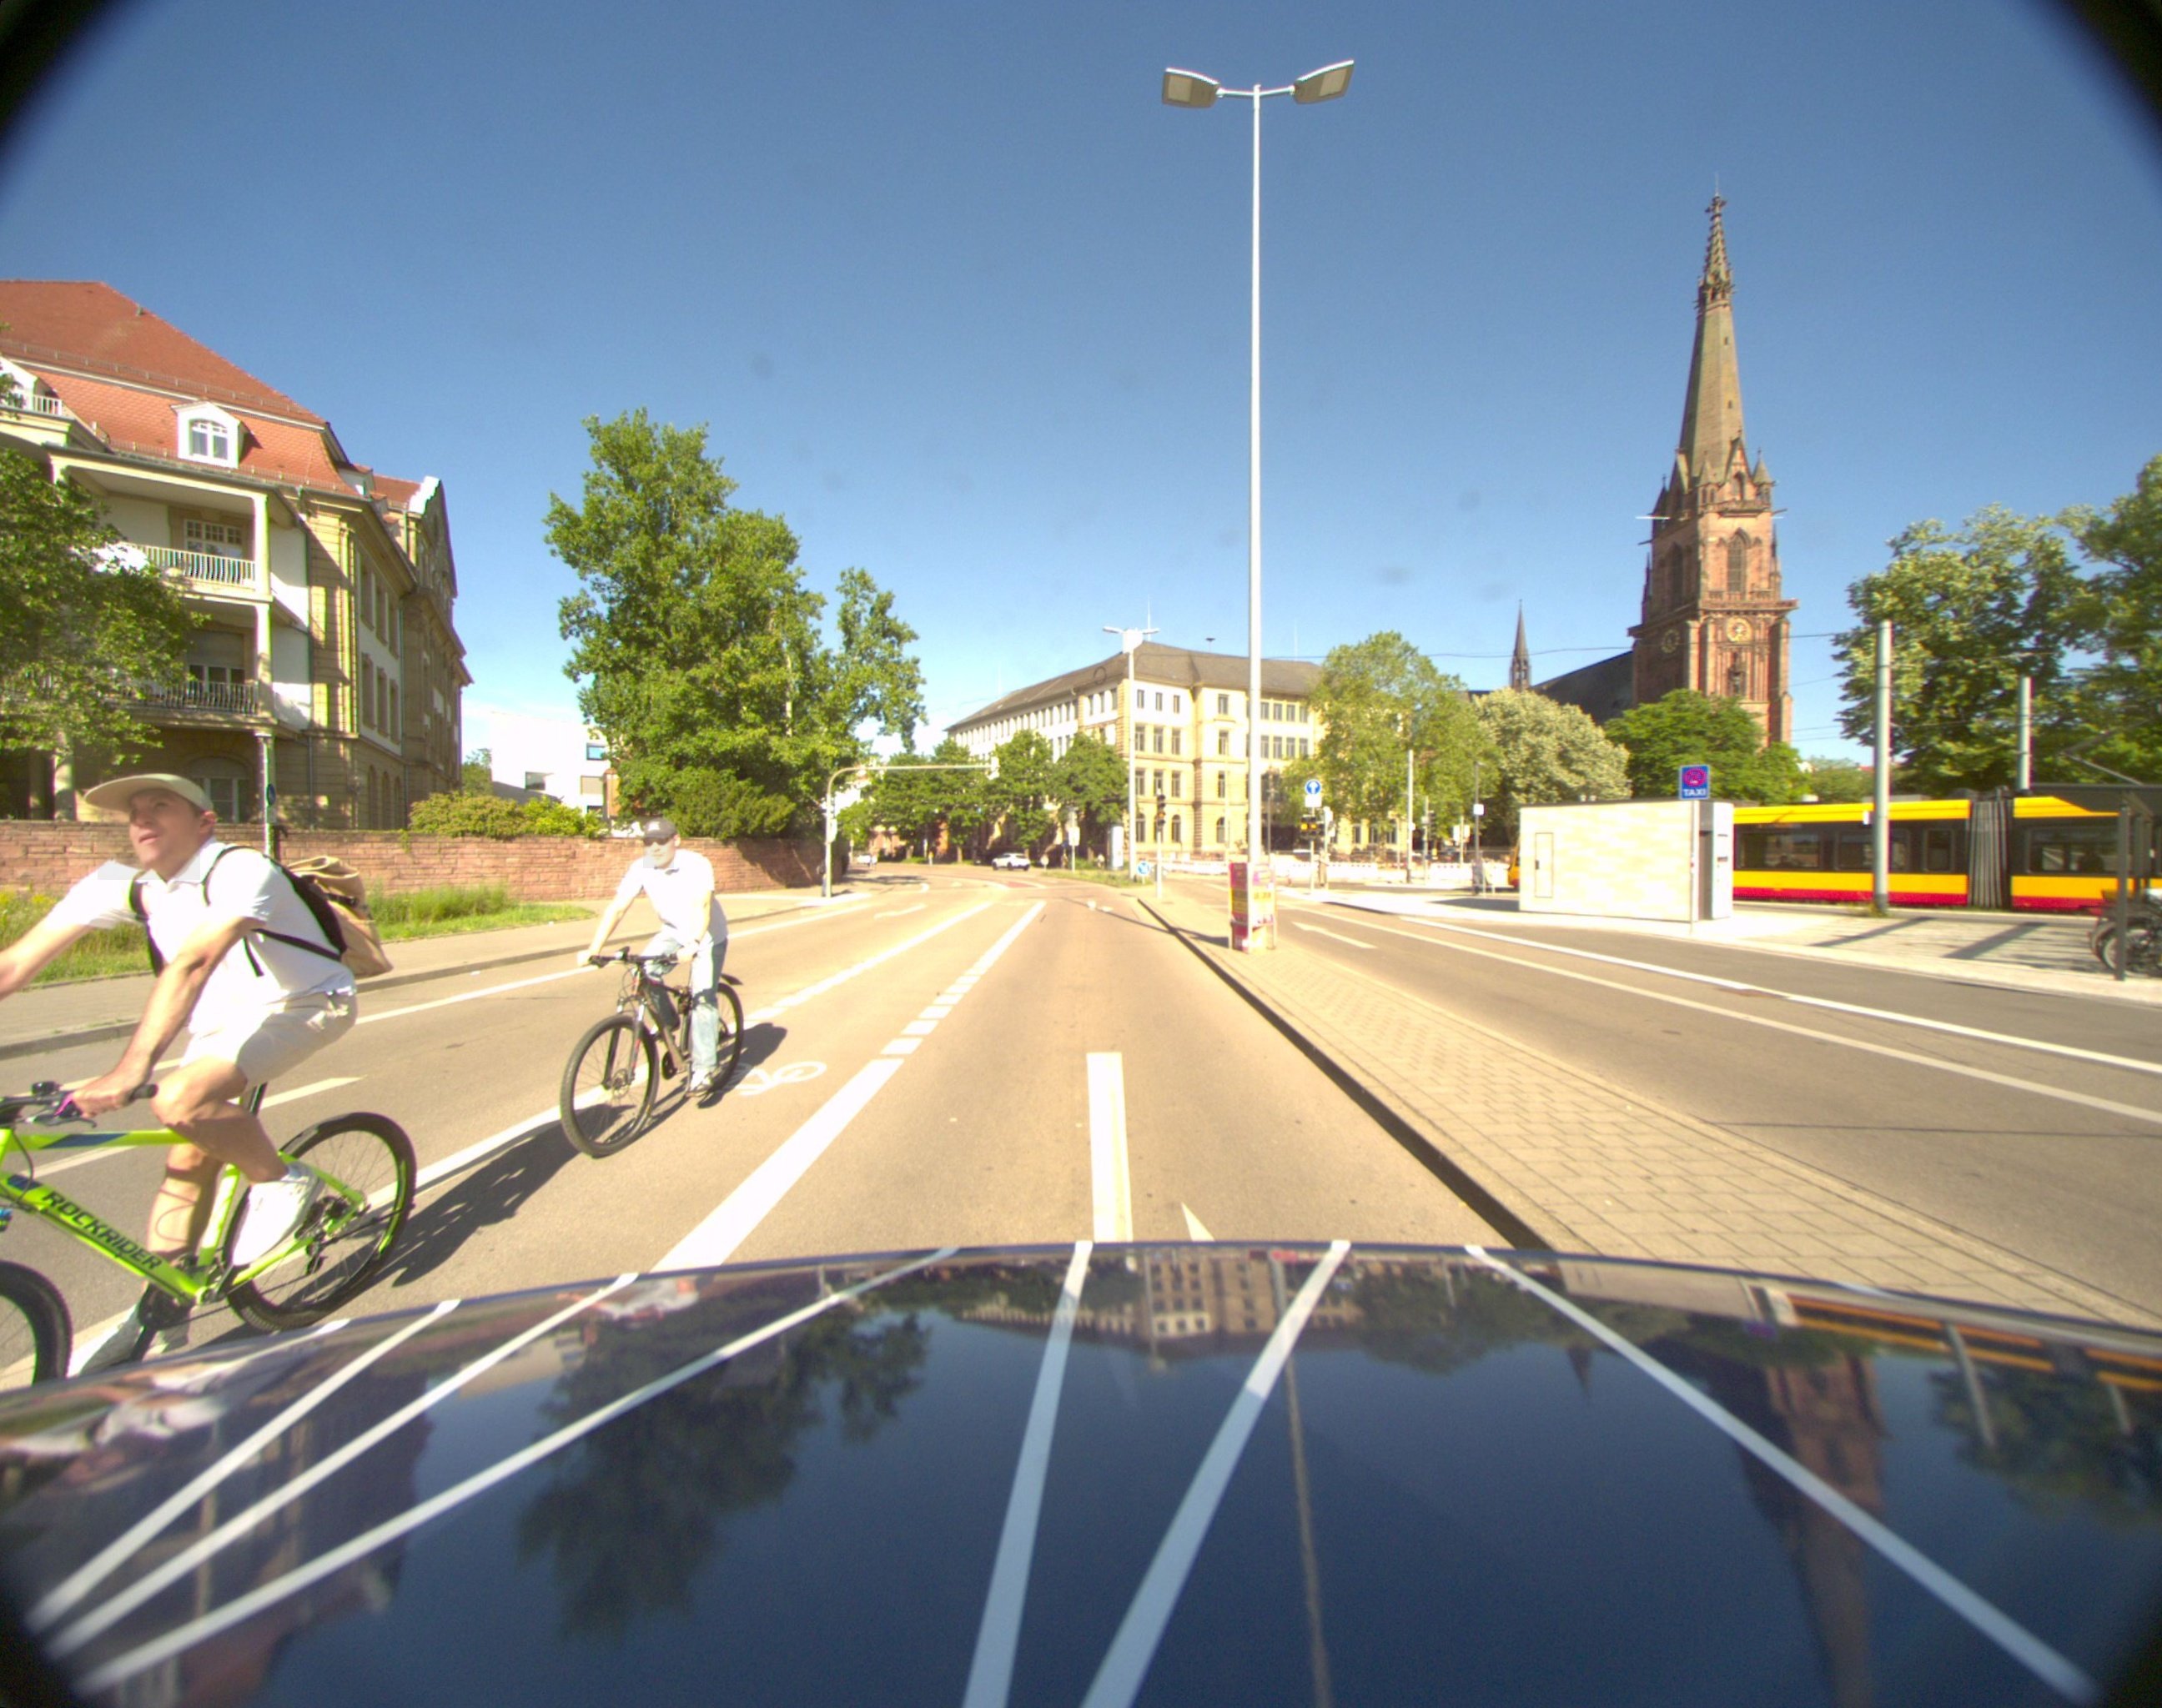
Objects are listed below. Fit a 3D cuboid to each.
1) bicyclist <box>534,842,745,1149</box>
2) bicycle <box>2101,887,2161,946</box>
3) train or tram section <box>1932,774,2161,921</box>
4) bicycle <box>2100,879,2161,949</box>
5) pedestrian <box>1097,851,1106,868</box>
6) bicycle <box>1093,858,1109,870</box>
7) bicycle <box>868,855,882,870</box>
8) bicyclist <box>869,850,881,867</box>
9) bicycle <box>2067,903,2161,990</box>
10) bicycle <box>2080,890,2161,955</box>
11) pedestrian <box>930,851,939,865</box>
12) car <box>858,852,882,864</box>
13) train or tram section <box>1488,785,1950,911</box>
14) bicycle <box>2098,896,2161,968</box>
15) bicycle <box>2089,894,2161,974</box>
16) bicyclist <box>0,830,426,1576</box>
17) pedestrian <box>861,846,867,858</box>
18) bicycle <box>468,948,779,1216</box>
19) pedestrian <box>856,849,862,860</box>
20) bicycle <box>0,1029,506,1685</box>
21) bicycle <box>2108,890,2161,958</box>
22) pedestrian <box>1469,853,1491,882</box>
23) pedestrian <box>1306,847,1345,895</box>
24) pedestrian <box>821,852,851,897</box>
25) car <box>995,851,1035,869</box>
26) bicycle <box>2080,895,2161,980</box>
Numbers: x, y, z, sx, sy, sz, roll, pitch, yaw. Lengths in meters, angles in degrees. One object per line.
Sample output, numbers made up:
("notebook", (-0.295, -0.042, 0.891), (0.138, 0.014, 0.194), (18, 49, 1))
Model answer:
("bicyclist", (-2.578, 0.764, 4.546), (0.742, 1.664, 0.865), (0, 1, -1))
("bicycle", (19.515, 1.124, 13.355), (0.630, 1.002, 1.826), (-1, 1, -32))
("train or tram section", (28.856, -0.160, 17.332), (2.806, 3.580, 12.294), (-1, 1, -35))
("bicycle", (18.936, 1.047, 12.947), (0.630, 1.173, 1.826), (-1, 1, -32))
("pedestrian", (1.796, 0.470, 66.540), (0.596, 1.394, 0.644), (-3, 1, -24))
("bicycle", (1.735, 0.831, 66.659), (0.601, 1.000, 1.983), (-3, 1, -25))
("bicycle", (-19.280, 0.765, 71.105), (0.763, 1.360, 2.732), (-1, 1, -27))
("bicyclist", (-19.269, 0.386, 71.065), (0.871, 1.551, 1.277), (-1, 1, -28))
("bicycle", (13.922, 1.205, 9.488), (0.702, 1.002, 1.863), (-1, 2, -32))
("bicycle", (17.802, 1.137, 12.358), (0.630, 1.002, 1.826), (-1, 1, -32))
("pedestrian", (-18.907, 0.460, 97.766), (0.759, 1.802, 0.977), (-1, 1, -40))
("car", (-27.598, 0.541, 99.351), (1.853, 1.477, 4.154), (-1, 1, -35))
("train or tram section", (21.818, -0.205, 27.555), (2.806, 3.580, 12.504), (-1, 1, -35))
("bicycle", (16.168, 1.161, 10.898), (0.630, 1.002, 1.826), (-1, 1, -32))
("bicycle", (15.130, 1.115, 10.225), (0.574, 1.045, 1.826), (-1, 1, -32))
("bicyclist", (-2.643, 0.744, 2.080), (0.676, 1.574, 1.081), (-2, 1, 0))
("pedestrian", (-35.524, -0.330, 124.408), (0.758, 1.801, 0.979), (-2, -2, -18))
("bicycle", (-2.581, 1.217, 4.615), (0.749, 1.044, 1.903), (0, 1, -1))
("pedestrian", (-36.438, 0.062, 124.658), (0.758, 1.801, 0.979), (-2, -2, -16))
("bicycle", (-2.621, 1.228, 2.066), (0.673, 1.044, 1.843), (-2, 1, 0))
("bicycle", (17.155, 1.099, 11.522), (0.630, 1.002, 1.826), (-1, 1, -32))
("pedestrian", (24.090, 0.807, 45.881), (0.807, 1.731, 0.933), (-1, 1, -35))
("pedestrian", (9.595, 0.656, 29.819), (1.231, 1.845, 0.826), (-1, 1, -25))
("pedestrian", (-10.312, 0.845, 31.999), (0.960, 1.839, 0.731), (1, 1, 4))
("car", (-6.116, 0.562, 69.899), (1.851, 1.543, 4.324), (1, 1, -34))
("bicycle", (14.660, 1.129, 9.960), (0.630, 1.059, 1.826), (-1, 1, -32))
